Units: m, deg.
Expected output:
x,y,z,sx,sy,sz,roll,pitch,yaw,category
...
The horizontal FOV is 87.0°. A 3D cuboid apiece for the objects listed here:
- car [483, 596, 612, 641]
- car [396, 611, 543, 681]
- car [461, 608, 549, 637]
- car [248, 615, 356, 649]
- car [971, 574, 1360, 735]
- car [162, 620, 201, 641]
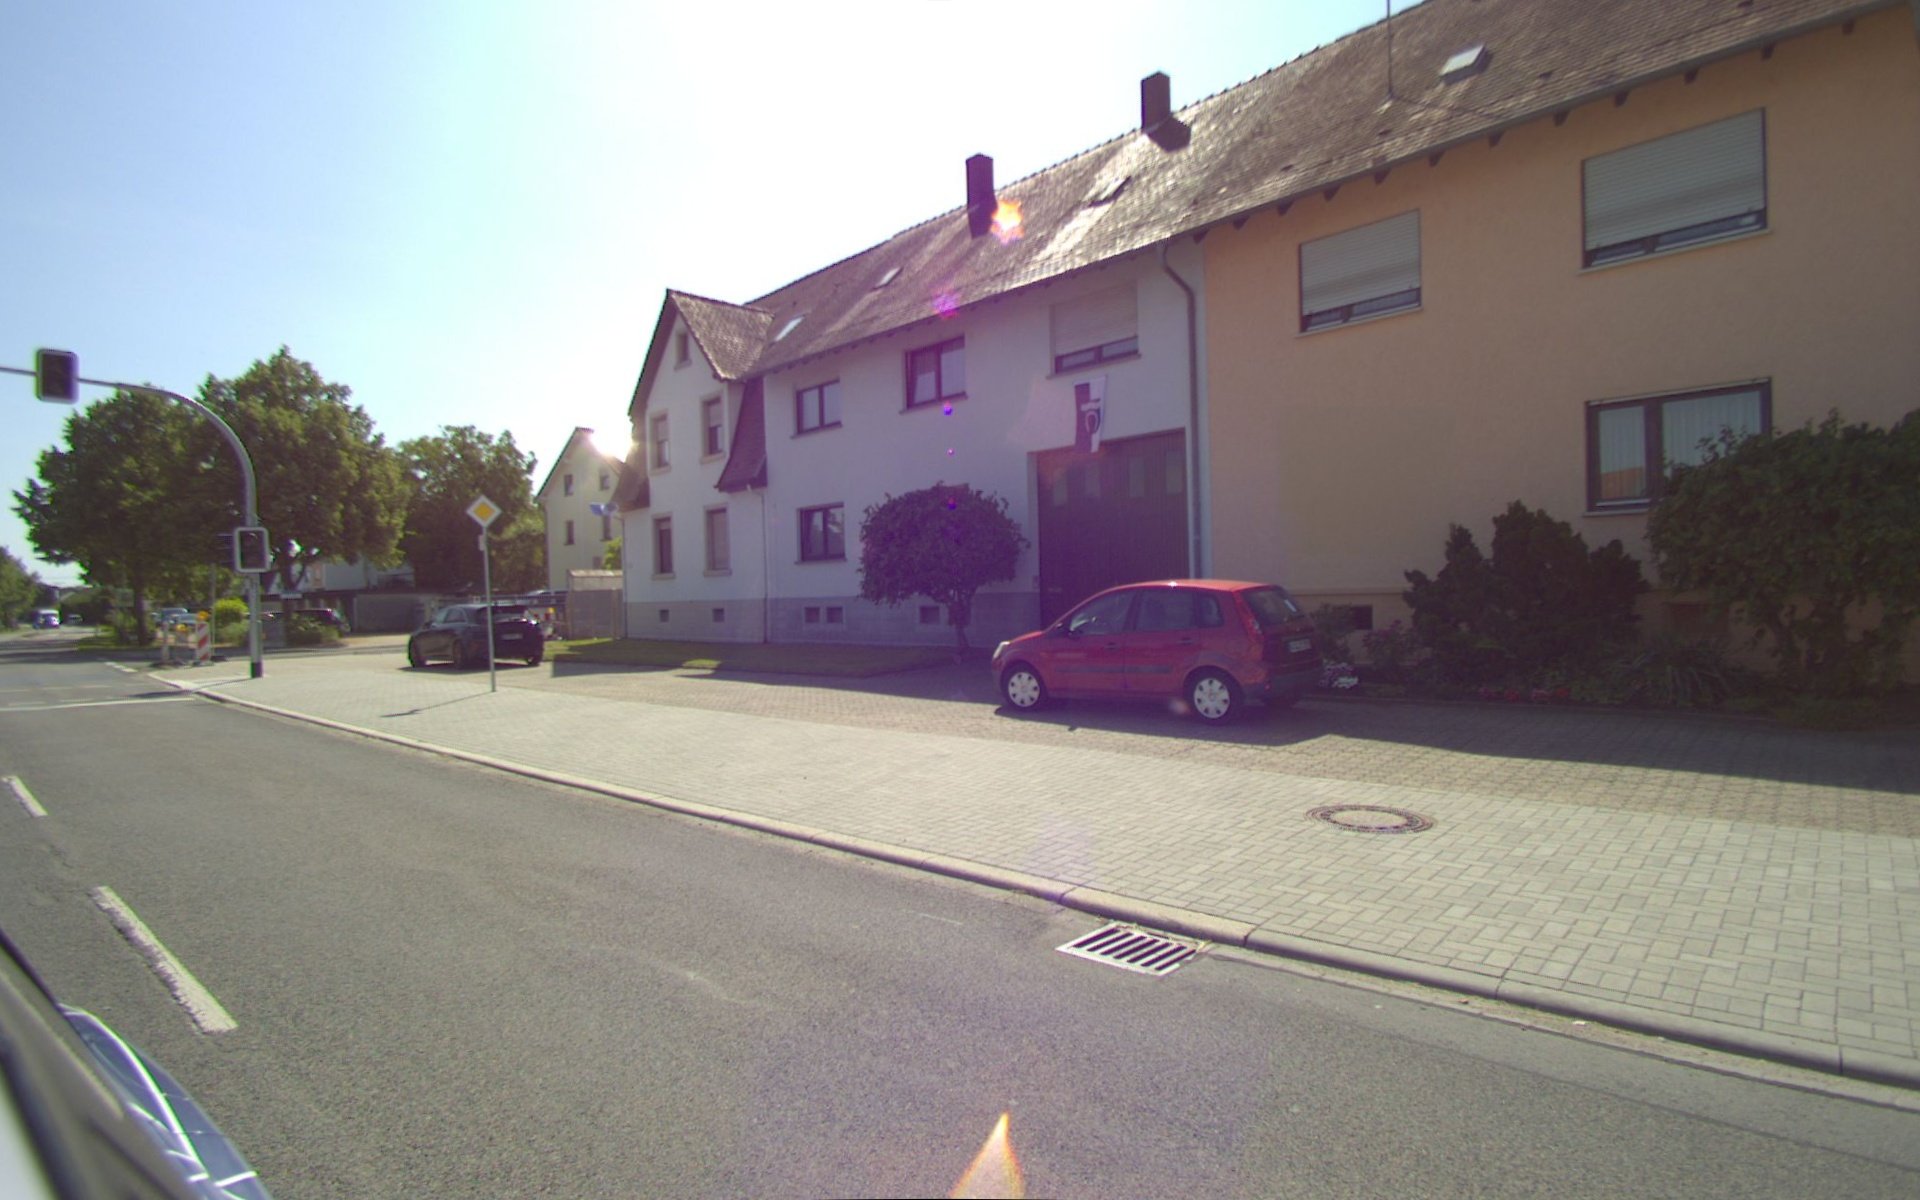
x,y,z,sx,sy,sz,roll,pitch,yaw,category
-20.061,0.864,49.457,1.999,2.060,5.550,-2,-1,41,car
-11.428,0.996,23.434,4.400,1.418,1.695,0,0,45,car
-25.109,1.226,55.941,2.000,1.516,3.943,-2,-1,43,car
-31.739,1.540,48.922,3.933,1.516,2.005,-1,0,-14,car
2.161,0.558,11.315,3.914,1.464,1.696,-3,0,43,car
-59.995,2.327,77.942,1.970,1.516,4.004,-1,-1,-43,car
